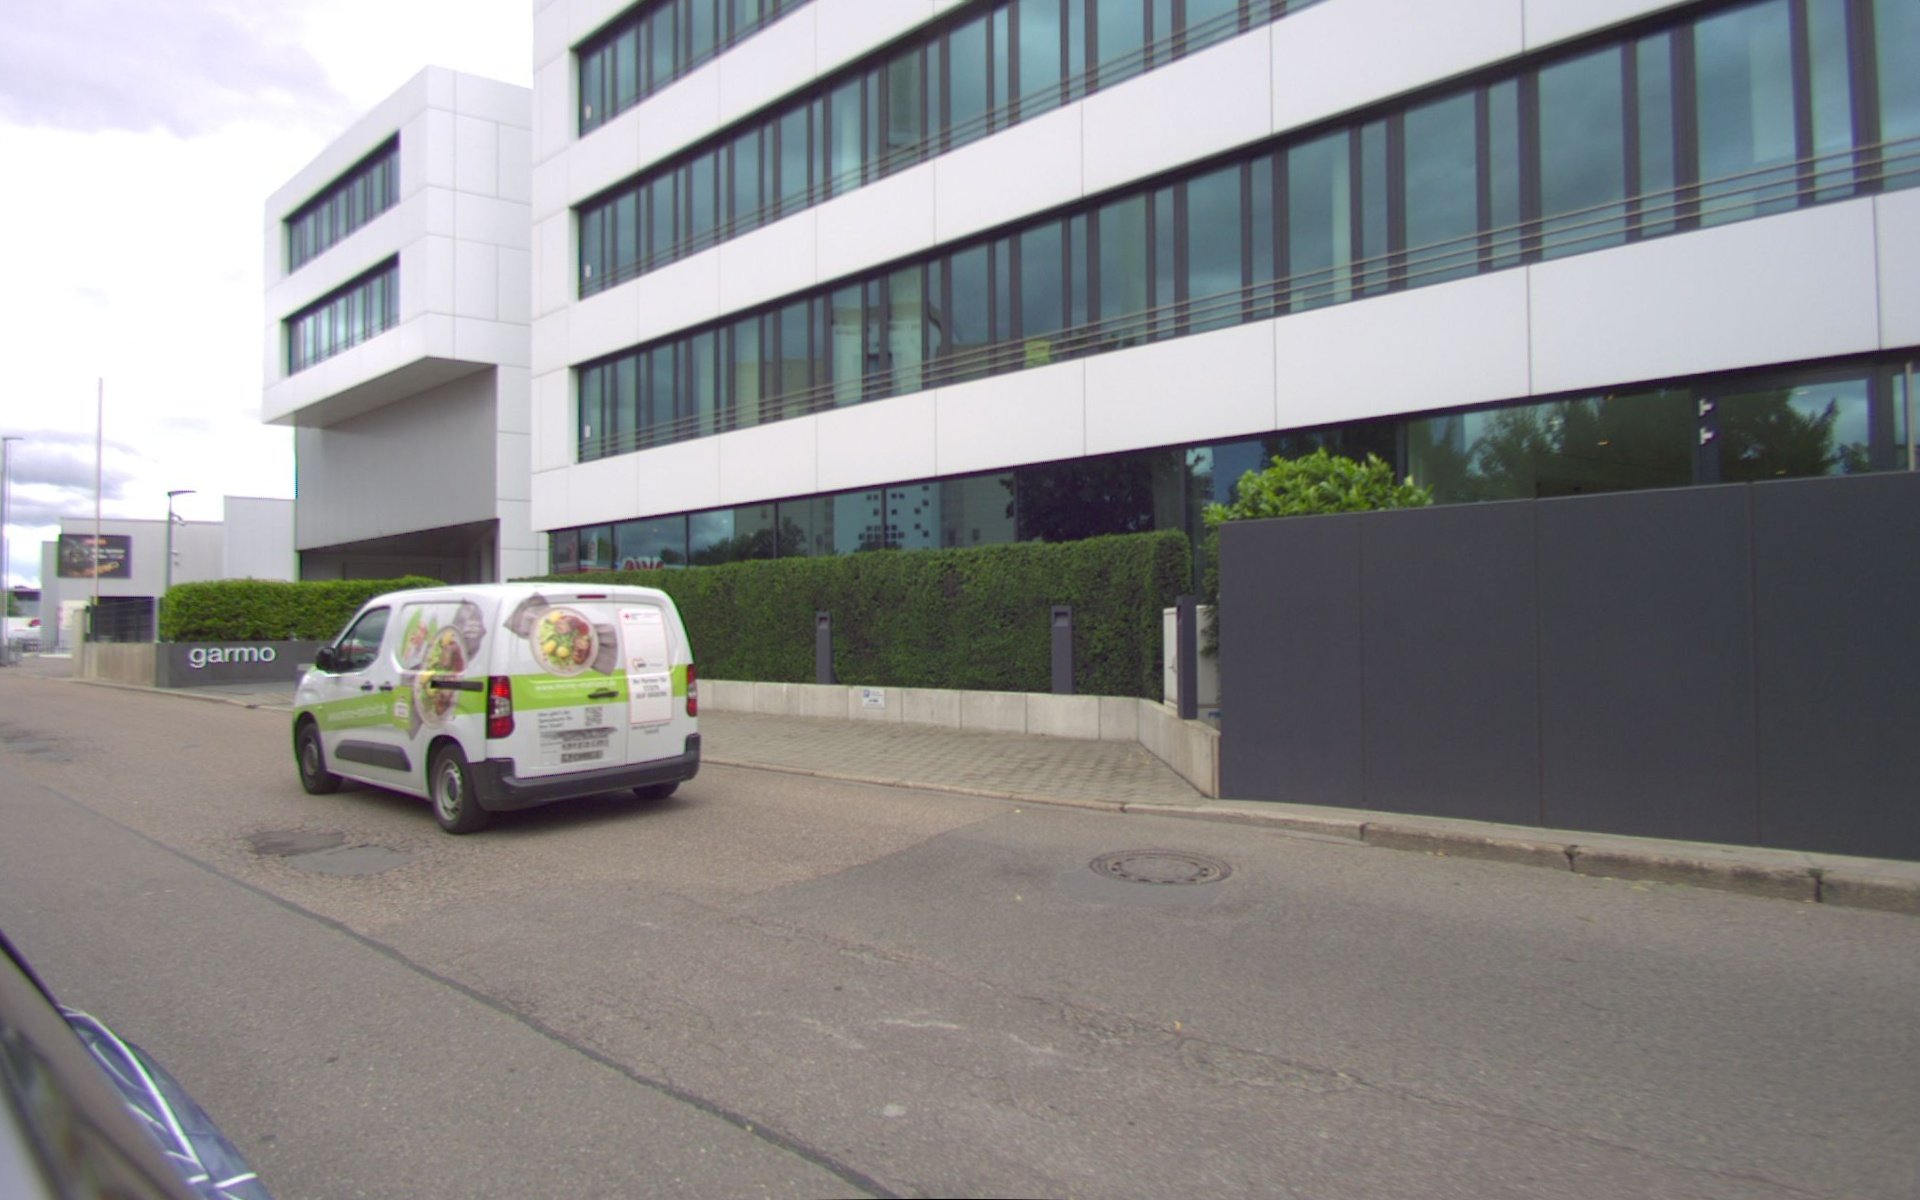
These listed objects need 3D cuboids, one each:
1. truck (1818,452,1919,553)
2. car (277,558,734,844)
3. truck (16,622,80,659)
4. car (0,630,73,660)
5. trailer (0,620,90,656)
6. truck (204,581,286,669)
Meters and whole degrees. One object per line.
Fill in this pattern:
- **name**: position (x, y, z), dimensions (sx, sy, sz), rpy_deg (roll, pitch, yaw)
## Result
- **truck**: position (30.699, -2.930, 27.891), dimensions (10.190, 2.541, 2.957), rpy_deg (-2, -3, 26)
- **car**: position (-3.909, 0.683, 8.358), dimensions (4.202, 1.777, 1.789), rpy_deg (-2, -1, 40)
- **truck**: position (-107.537, 4.873, 119.390), dimensions (4.798, 4.237, 3.057), rpy_deg (2, -4, -28)
- **car**: position (-90.173, 4.382, 98.542), dimensions (5.342, 2.751, 2.247), rpy_deg (-1, -2, -32)
- **trailer**: position (-112.995, 4.648, 122.001), dimensions (11.843, 4.164, 3.056), rpy_deg (3, -4, -32)
- **truck**: position (-35.367, 1.296, 50.244), dimensions (2.704, 4.062, 7.113), rpy_deg (0, -2, -30)
